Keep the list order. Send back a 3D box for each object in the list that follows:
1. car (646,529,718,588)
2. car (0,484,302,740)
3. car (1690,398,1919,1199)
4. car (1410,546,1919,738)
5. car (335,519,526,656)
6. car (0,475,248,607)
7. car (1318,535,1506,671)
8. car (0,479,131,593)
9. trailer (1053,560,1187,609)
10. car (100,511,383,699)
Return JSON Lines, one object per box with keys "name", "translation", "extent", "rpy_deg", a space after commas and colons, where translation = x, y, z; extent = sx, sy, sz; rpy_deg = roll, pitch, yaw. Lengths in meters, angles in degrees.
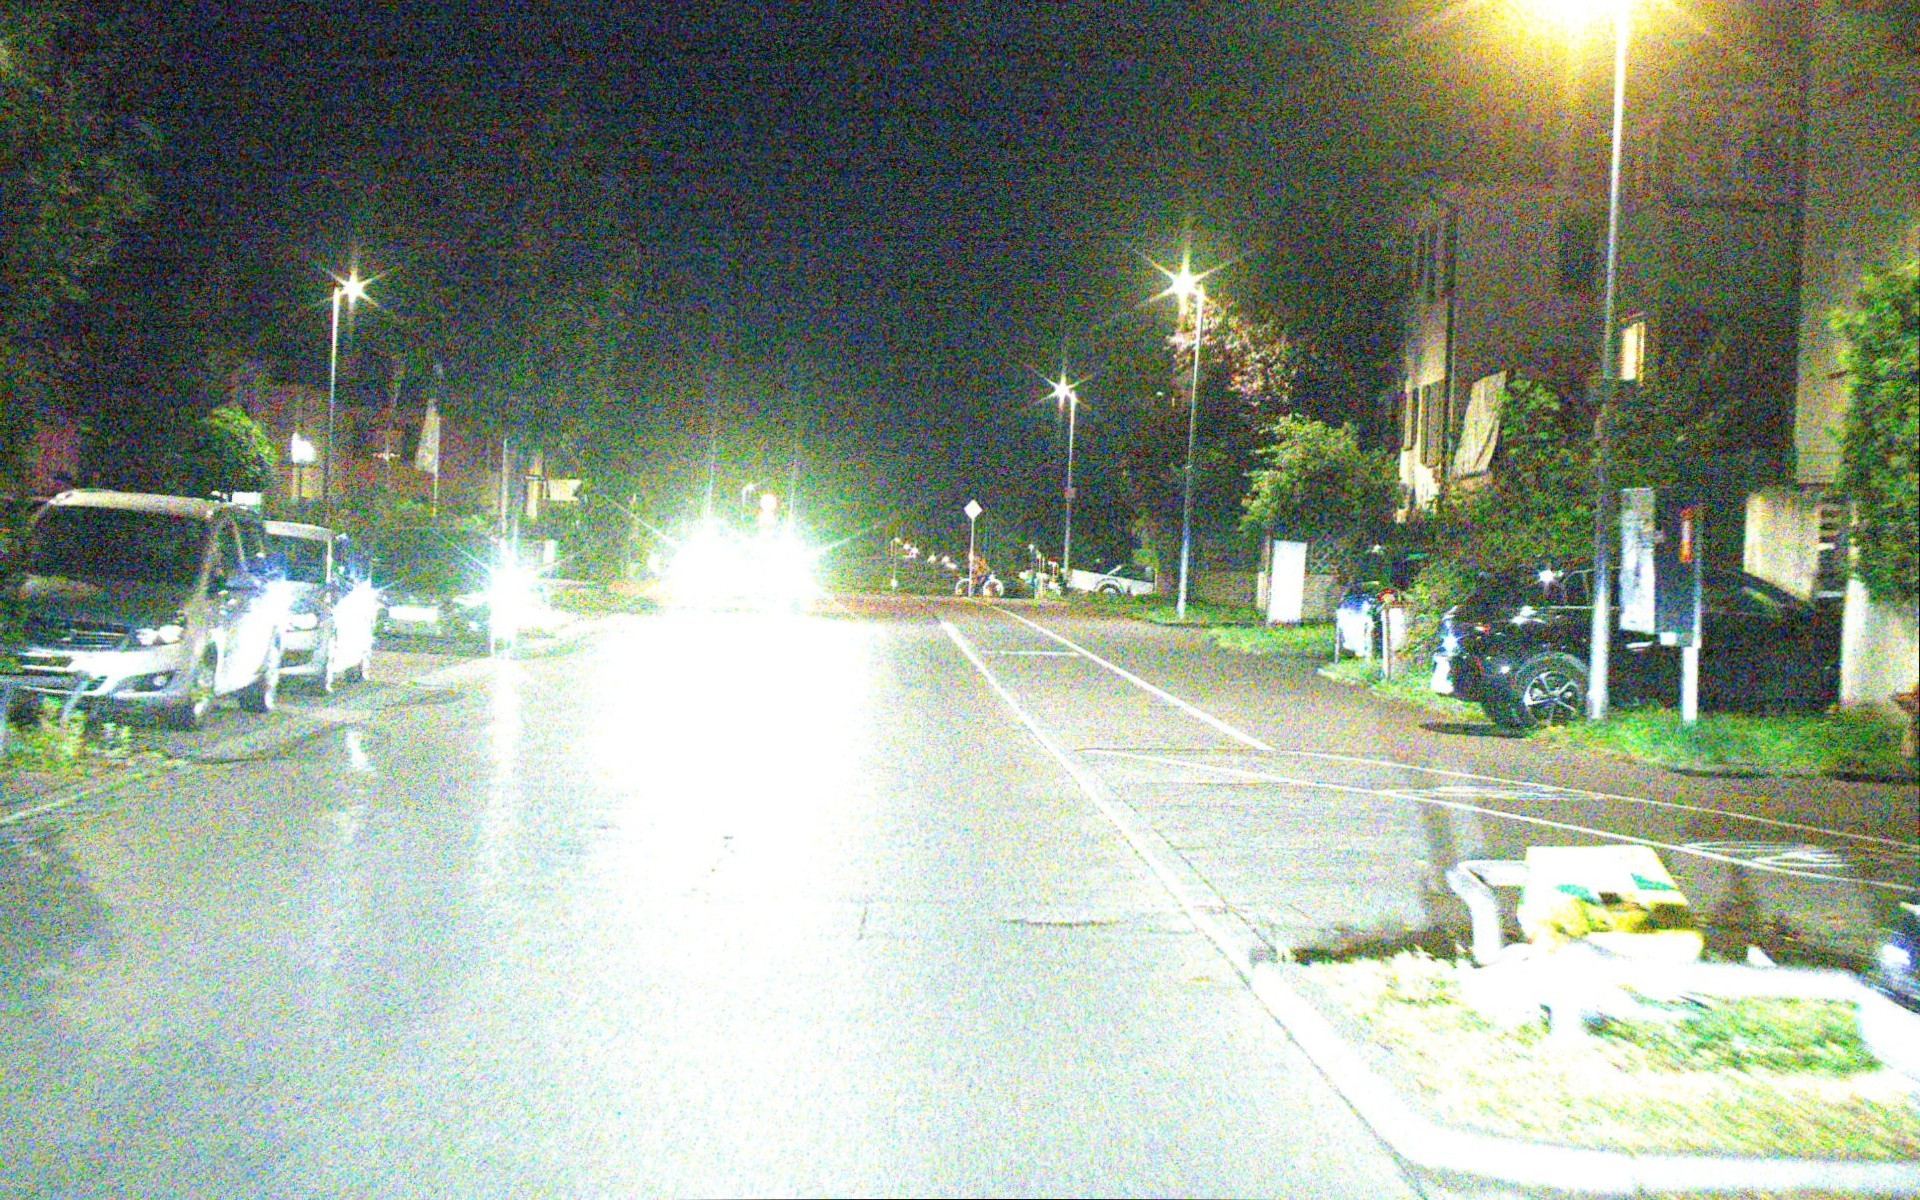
{"name": "car", "translation": [-8.141, -1.214, 101.054], "extent": [1.672, 1.585, 3.987], "rpy_deg": [3, 0, 0]}
{"name": "car", "translation": [-6.183, 0.018, 25.268], "extent": [1.928, 1.631, 4.471], "rpy_deg": [4, 1, -3]}
{"name": "car", "translation": [3.806, 0.608, 6.741], "extent": [4.355, 1.810, 2.031], "rpy_deg": [2, 1, 4]}
{"name": "car", "translation": [5.836, 0.323, 28.496], "extent": [3.904, 1.481, 1.833], "rpy_deg": [1, 1, -1]}
{"name": "car", "translation": [-6.259, -0.184, 40.986], "extent": [1.749, 1.463, 4.009], "rpy_deg": [3, 1, -3]}
{"name": "car", "translation": [-11.609, -0.783, 45.085], "extent": [4.115, 1.656, 2.000], "rpy_deg": [1, 1, 0]}
{"name": "car", "translation": [5.514, 0.004, 42.295], "extent": [1.639, 1.554, 3.679], "rpy_deg": [2, 1, -2]}
{"name": "car", "translation": [-14.707, -0.975, 52.172], "extent": [3.986, 1.697, 1.949], "rpy_deg": [0, 1, -8]}
{"name": "trailer", "translation": [4.339, -0.425, 93.434], "extent": [3.432, 0.999, 1.954], "rpy_deg": [6, 0, -2]}
{"name": "car", "translation": [-6.325, 0.004, 30.663], "extent": [1.770, 1.463, 3.967], "rpy_deg": [4, 1, -3]}
